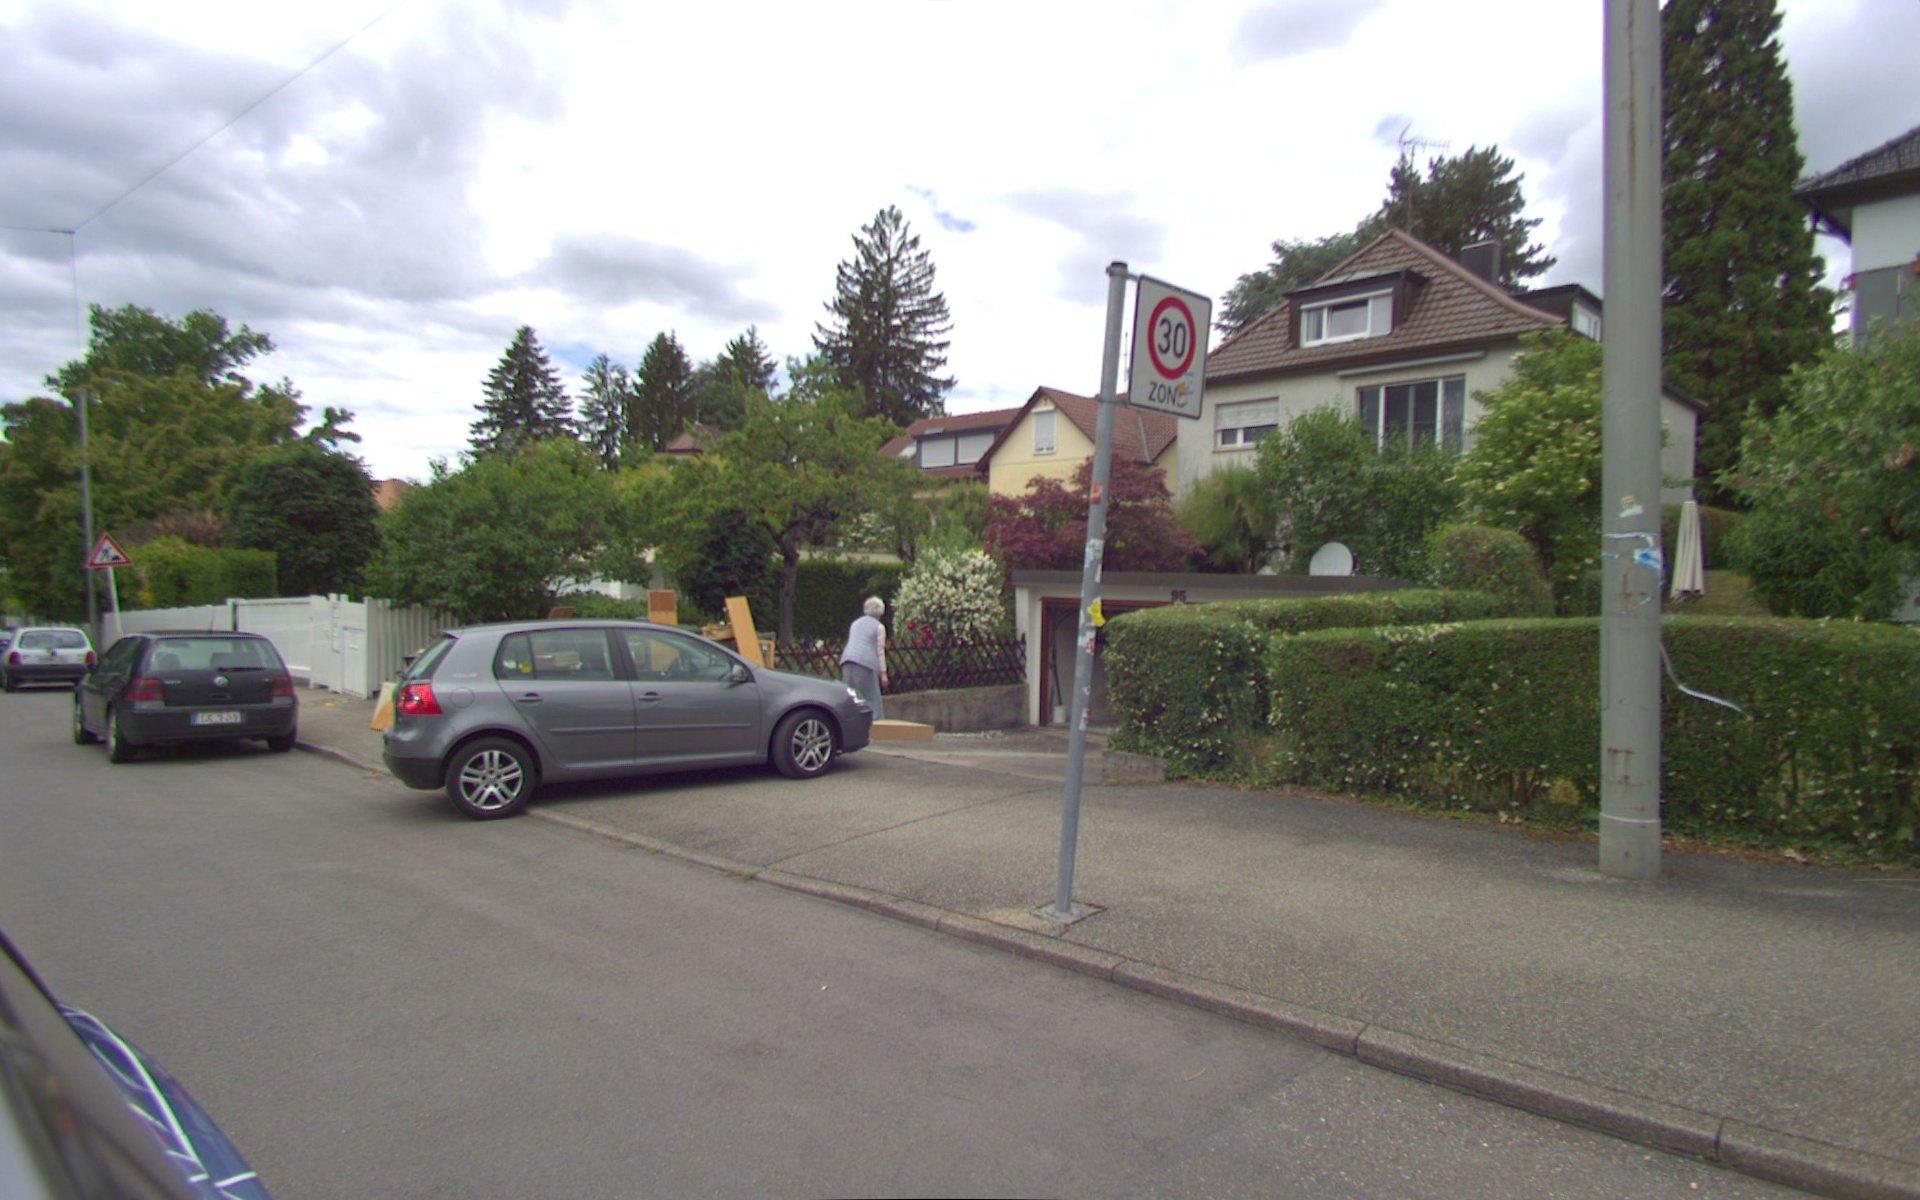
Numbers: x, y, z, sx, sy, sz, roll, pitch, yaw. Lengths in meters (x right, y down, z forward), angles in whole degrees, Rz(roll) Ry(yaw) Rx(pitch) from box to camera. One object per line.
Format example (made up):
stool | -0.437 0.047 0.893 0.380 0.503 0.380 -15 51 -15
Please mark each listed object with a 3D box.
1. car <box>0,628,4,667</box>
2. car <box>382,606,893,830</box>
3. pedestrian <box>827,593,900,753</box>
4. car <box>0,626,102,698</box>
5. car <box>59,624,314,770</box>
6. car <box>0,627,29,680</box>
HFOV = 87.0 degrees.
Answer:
car | -38.703 1.868 39.735 3.313 1.480 1.517 -3 -4 44
car | -2.758 0.853 8.873 3.931 1.473 1.743 -2 0 -28
pedestrian | -1.129 0.838 11.914 0.641 1.818 0.609 -1 0 19
car | -20.983 1.377 23.236 3.314 1.480 1.598 -1 -3 44
car | -9.322 1.028 12.095 3.801 1.455 1.735 -1 -3 42
car | -28.837 1.557 29.998 3.314 1.480 1.598 -1 -3 44
